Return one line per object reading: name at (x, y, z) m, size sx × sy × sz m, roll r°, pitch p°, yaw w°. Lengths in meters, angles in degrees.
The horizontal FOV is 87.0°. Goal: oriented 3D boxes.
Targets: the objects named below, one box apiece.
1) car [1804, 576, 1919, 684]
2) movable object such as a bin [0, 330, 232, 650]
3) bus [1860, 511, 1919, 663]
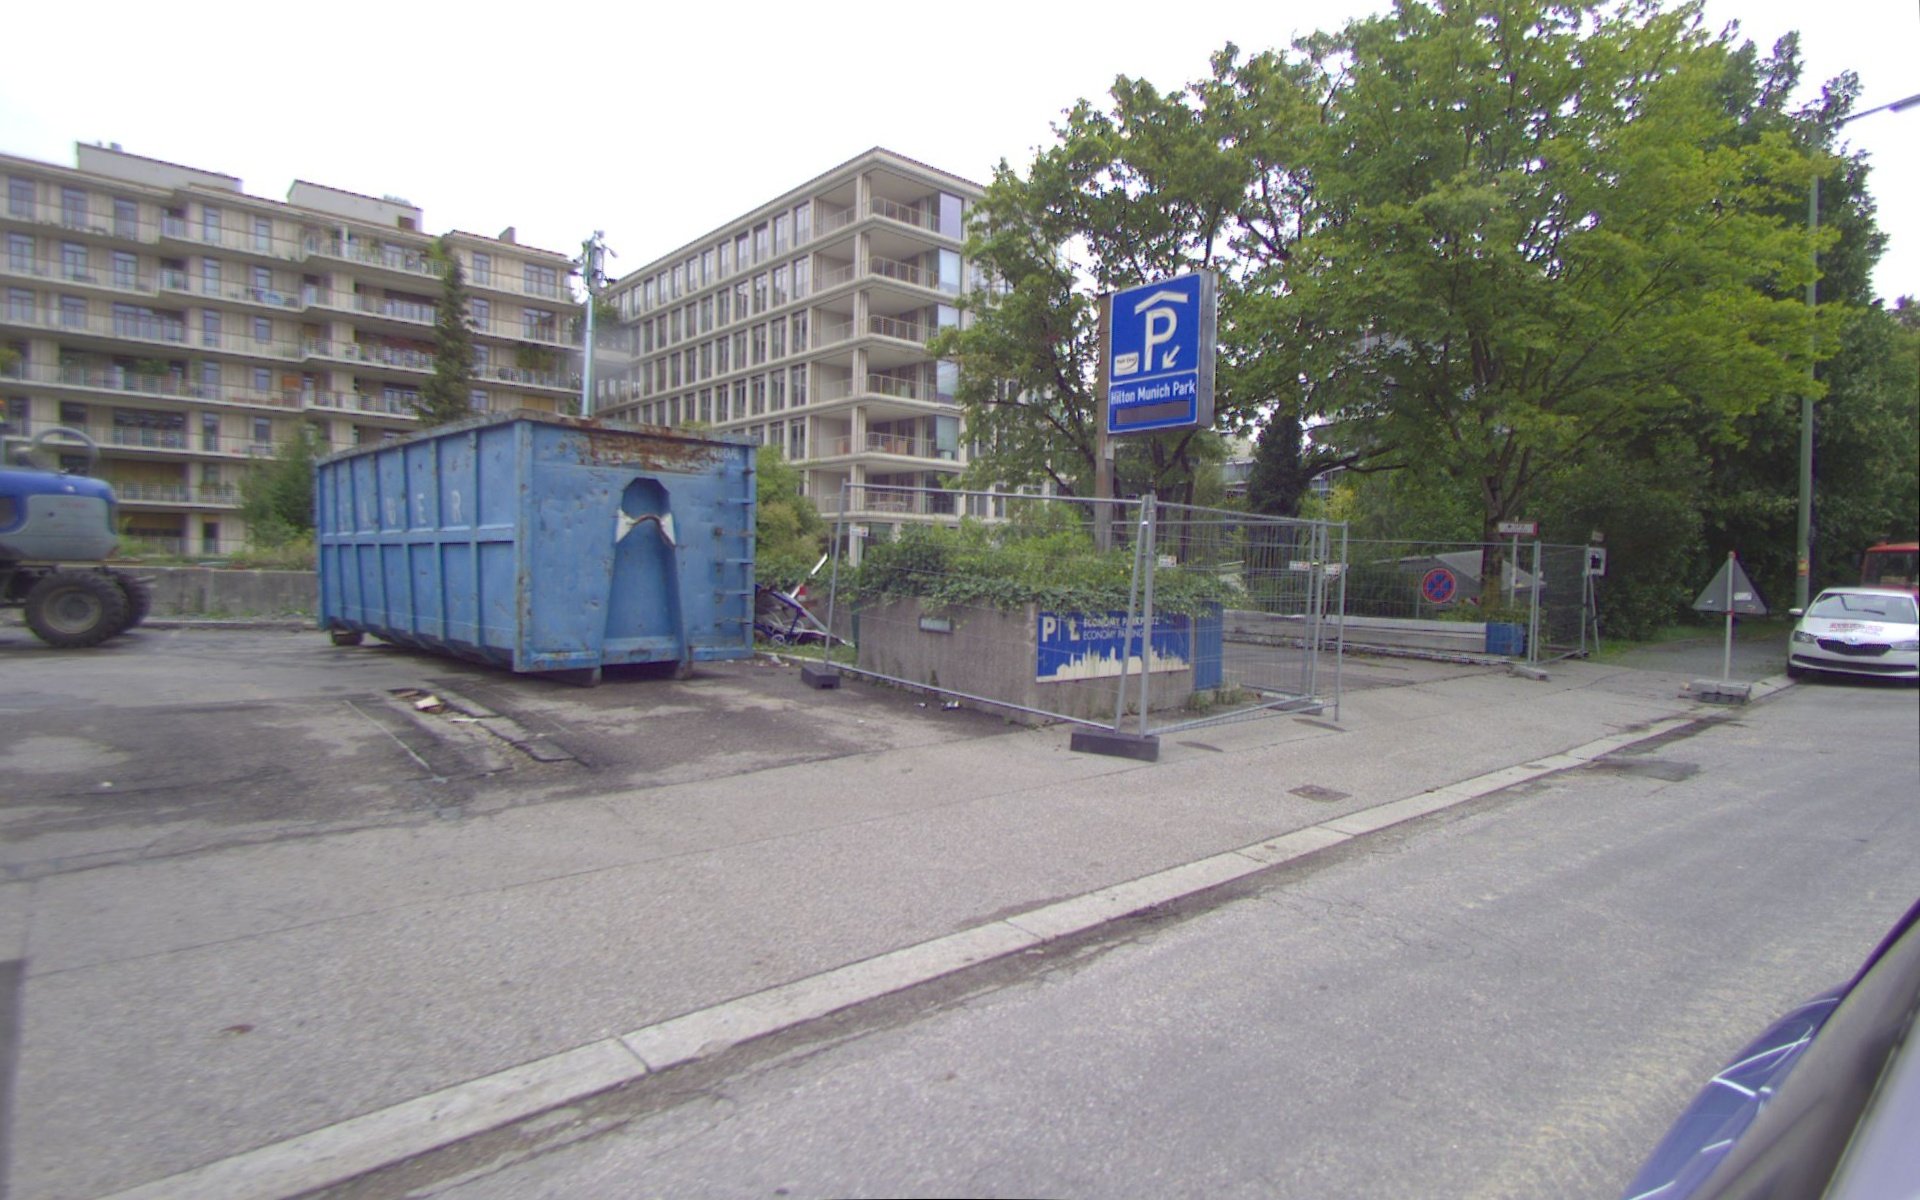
car at (15.245, 0.399, 16.750) m, size 3.995 × 1.510 × 1.533 m, roll -2°, pitch 4°, yaw -44°
movable object such as a bin at (-14.279, -1.441, 13.757) m, size 7.089 × 3.728 × 3.867 m, roll 2°, pitch 2°, yaw 20°
bus at (20.529, -0.268, 20.610) m, size 6.156 × 2.839 × 2.079 m, roll -1°, pitch 2°, yaw -37°
